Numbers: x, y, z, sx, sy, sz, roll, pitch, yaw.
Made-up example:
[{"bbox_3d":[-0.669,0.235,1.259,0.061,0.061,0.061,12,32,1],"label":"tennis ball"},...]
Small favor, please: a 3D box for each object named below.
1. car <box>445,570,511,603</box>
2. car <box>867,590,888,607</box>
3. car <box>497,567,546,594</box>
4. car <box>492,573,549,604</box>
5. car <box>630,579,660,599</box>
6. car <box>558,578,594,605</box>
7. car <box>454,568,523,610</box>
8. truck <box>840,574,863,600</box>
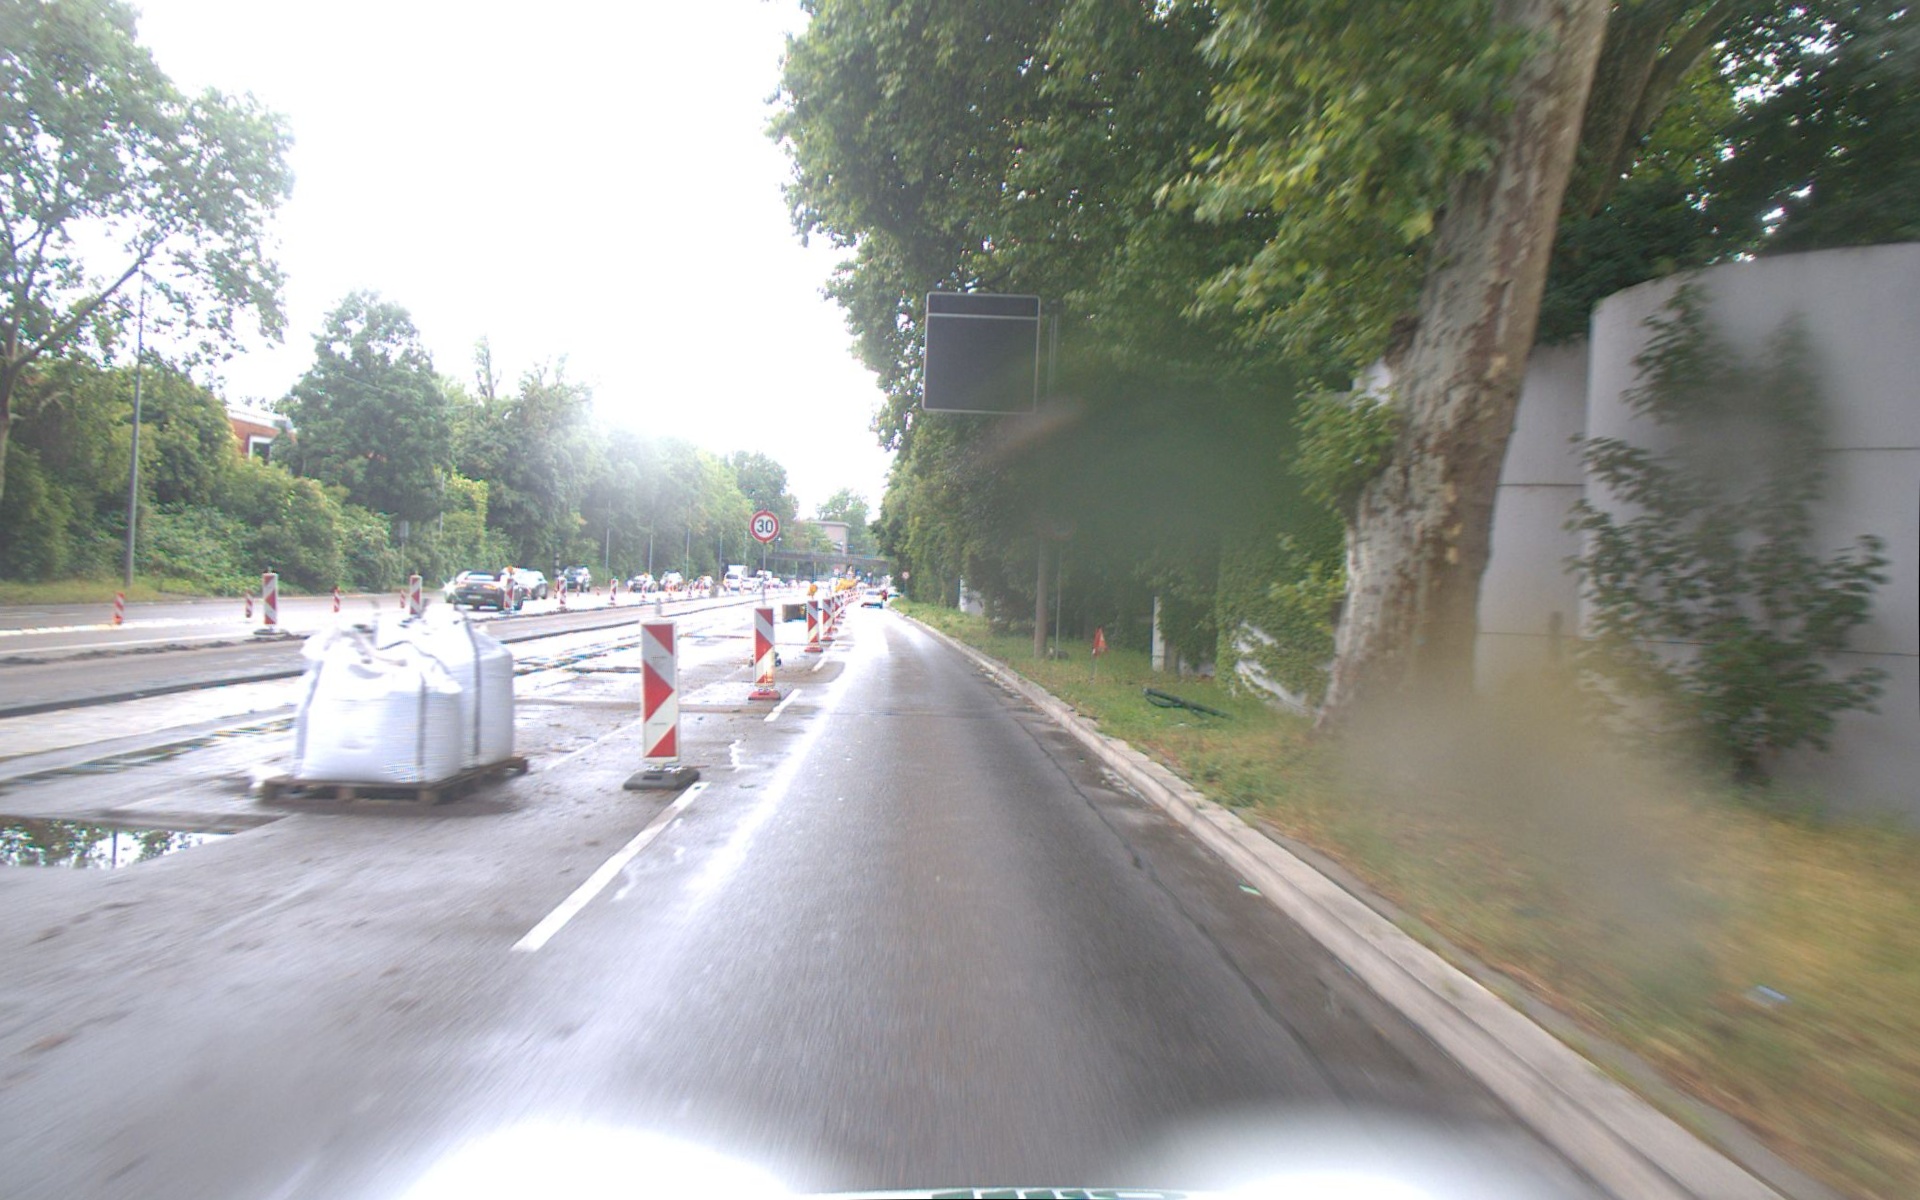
[{"bbox_3d":[-21.026,-0.602,72.290,1.782,1.379,4.387,1,0,-3],"label":"car"},{"bbox_3d":[-6.785,-0.154,135.669,1.664,1.359,3.488,1,0,-4],"label":"car"},{"bbox_3d":[-25.062,-1.105,94.695,1.782,1.444,4.600,3,0,-3],"label":"car"},{"bbox_3d":[-20.696,-0.552,78.053,1.782,1.379,4.202,1,0,-3],"label":"car"},{"bbox_3d":[-25.045,-0.899,131.603,1.726,1.509,4.896,2,0,-4],"label":"car"},{"bbox_3d":[-26.673,-0.590,114.954,1.620,1.714,4.530,3,0,-3],"label":"car"},{"bbox_3d":[-17.397,-0.410,61.168,1.576,1.429,4.038,3,0,-4],"label":"car"},{"bbox_3d":[-16.493,-1.978,251.752,3.195,3.558,13.861,3,0,-3],"label":"truck"}]
